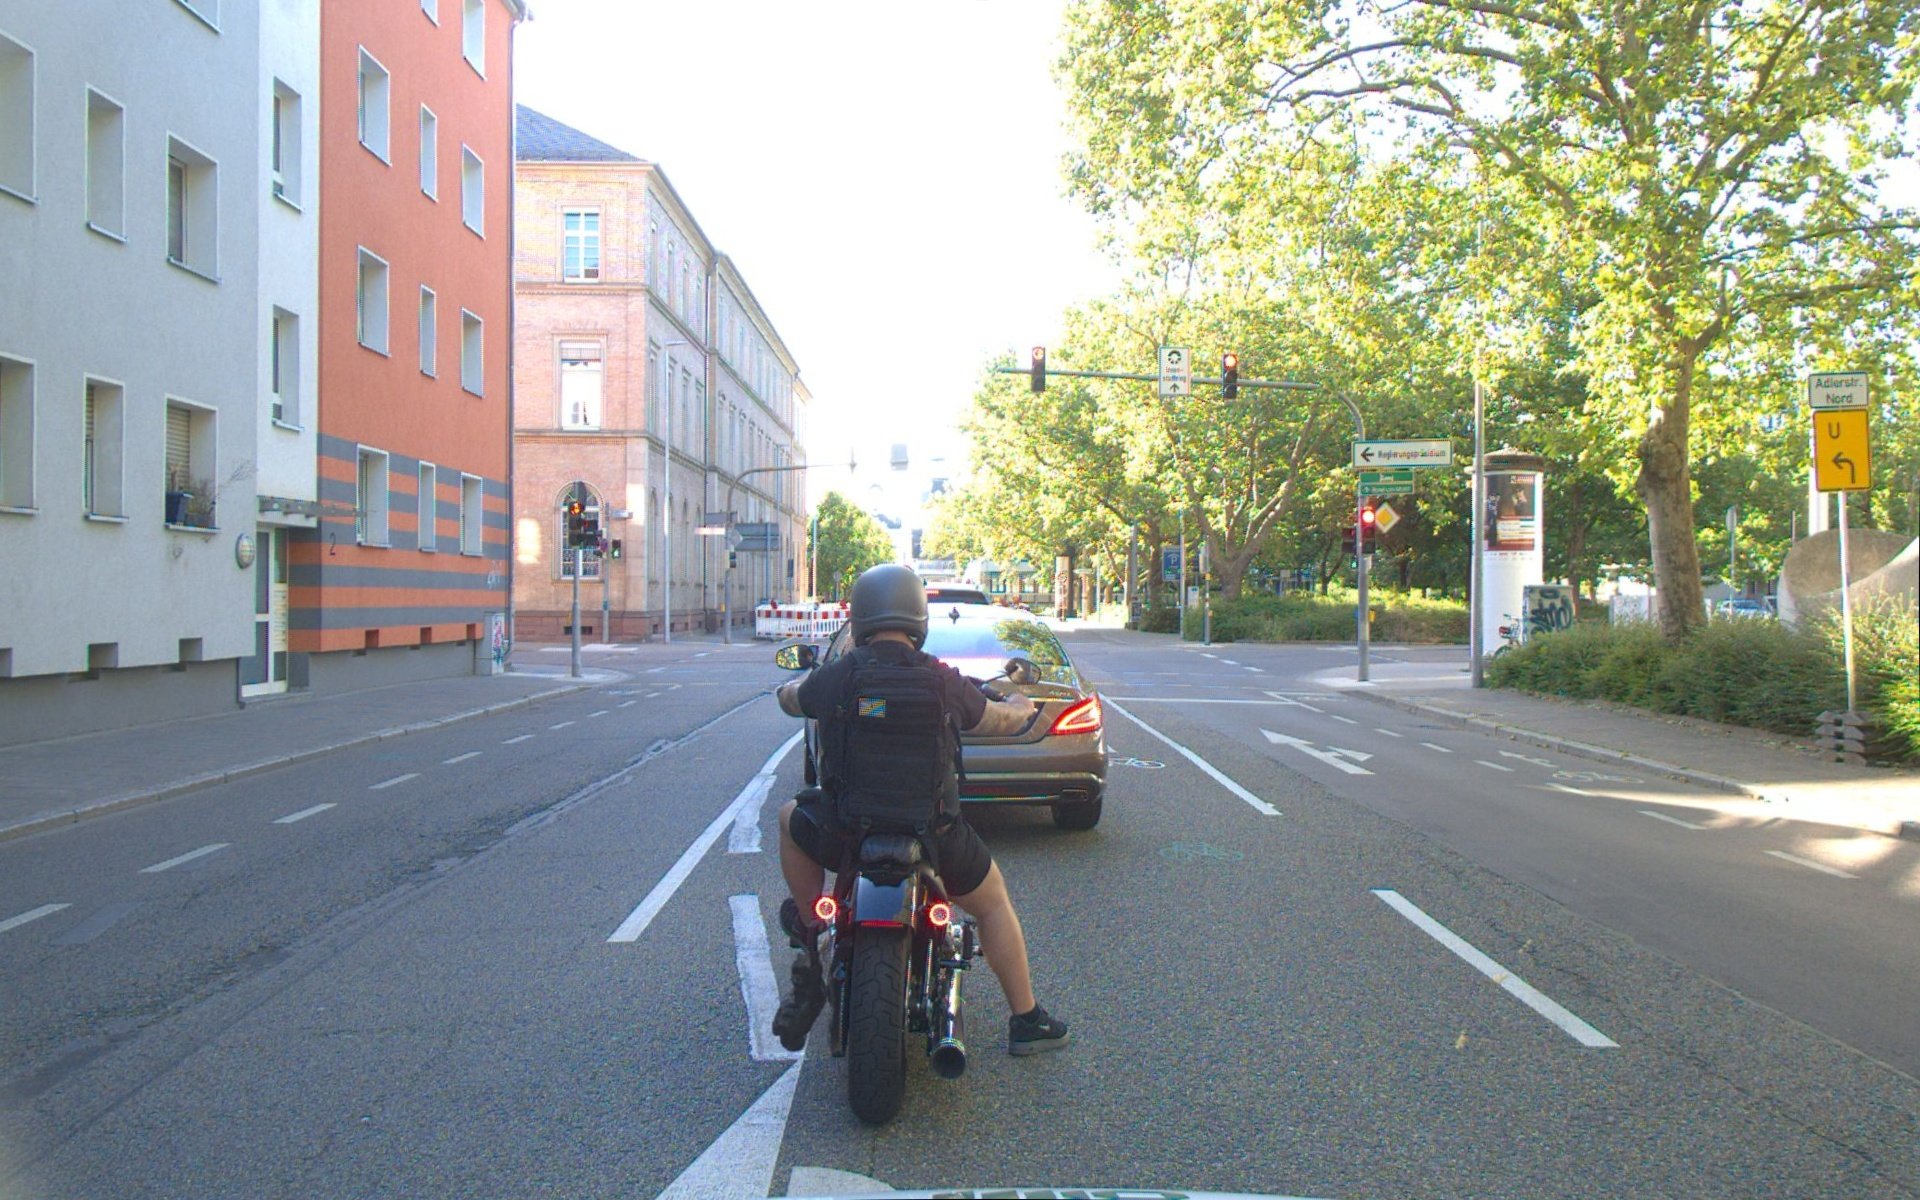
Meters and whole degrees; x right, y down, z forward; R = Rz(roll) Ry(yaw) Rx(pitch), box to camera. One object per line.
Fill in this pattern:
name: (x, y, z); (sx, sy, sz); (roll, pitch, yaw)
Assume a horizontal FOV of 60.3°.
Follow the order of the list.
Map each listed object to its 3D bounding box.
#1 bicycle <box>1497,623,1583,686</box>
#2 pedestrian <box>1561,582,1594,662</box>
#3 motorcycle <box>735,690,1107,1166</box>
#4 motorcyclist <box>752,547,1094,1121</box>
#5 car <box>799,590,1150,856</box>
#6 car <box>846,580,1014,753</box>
bicycle: (9.739, 0.918, 27.791); (1.324, 1.041, 0.363); (0, 0, 0)
pedestrian: (14.527, 0.514, 38.907); (0.540, 1.881, 0.593); (0, 0, 0)
motorcycle: (-0.119, 0.924, 5.554); (0.969, 1.097, 2.451); (0, 0, -1)
motorcyclist: (-0.114, 0.661, 5.400); (0.969, 1.625, 1.403); (0, 0, -1)
car: (-0.114, 0.682, 11.594); (1.909, 1.498, 4.355); (0, 0, -7)
car: (-0.336, 0.616, 17.757); (1.580, 1.636, 4.327); (0, 0, -2)
